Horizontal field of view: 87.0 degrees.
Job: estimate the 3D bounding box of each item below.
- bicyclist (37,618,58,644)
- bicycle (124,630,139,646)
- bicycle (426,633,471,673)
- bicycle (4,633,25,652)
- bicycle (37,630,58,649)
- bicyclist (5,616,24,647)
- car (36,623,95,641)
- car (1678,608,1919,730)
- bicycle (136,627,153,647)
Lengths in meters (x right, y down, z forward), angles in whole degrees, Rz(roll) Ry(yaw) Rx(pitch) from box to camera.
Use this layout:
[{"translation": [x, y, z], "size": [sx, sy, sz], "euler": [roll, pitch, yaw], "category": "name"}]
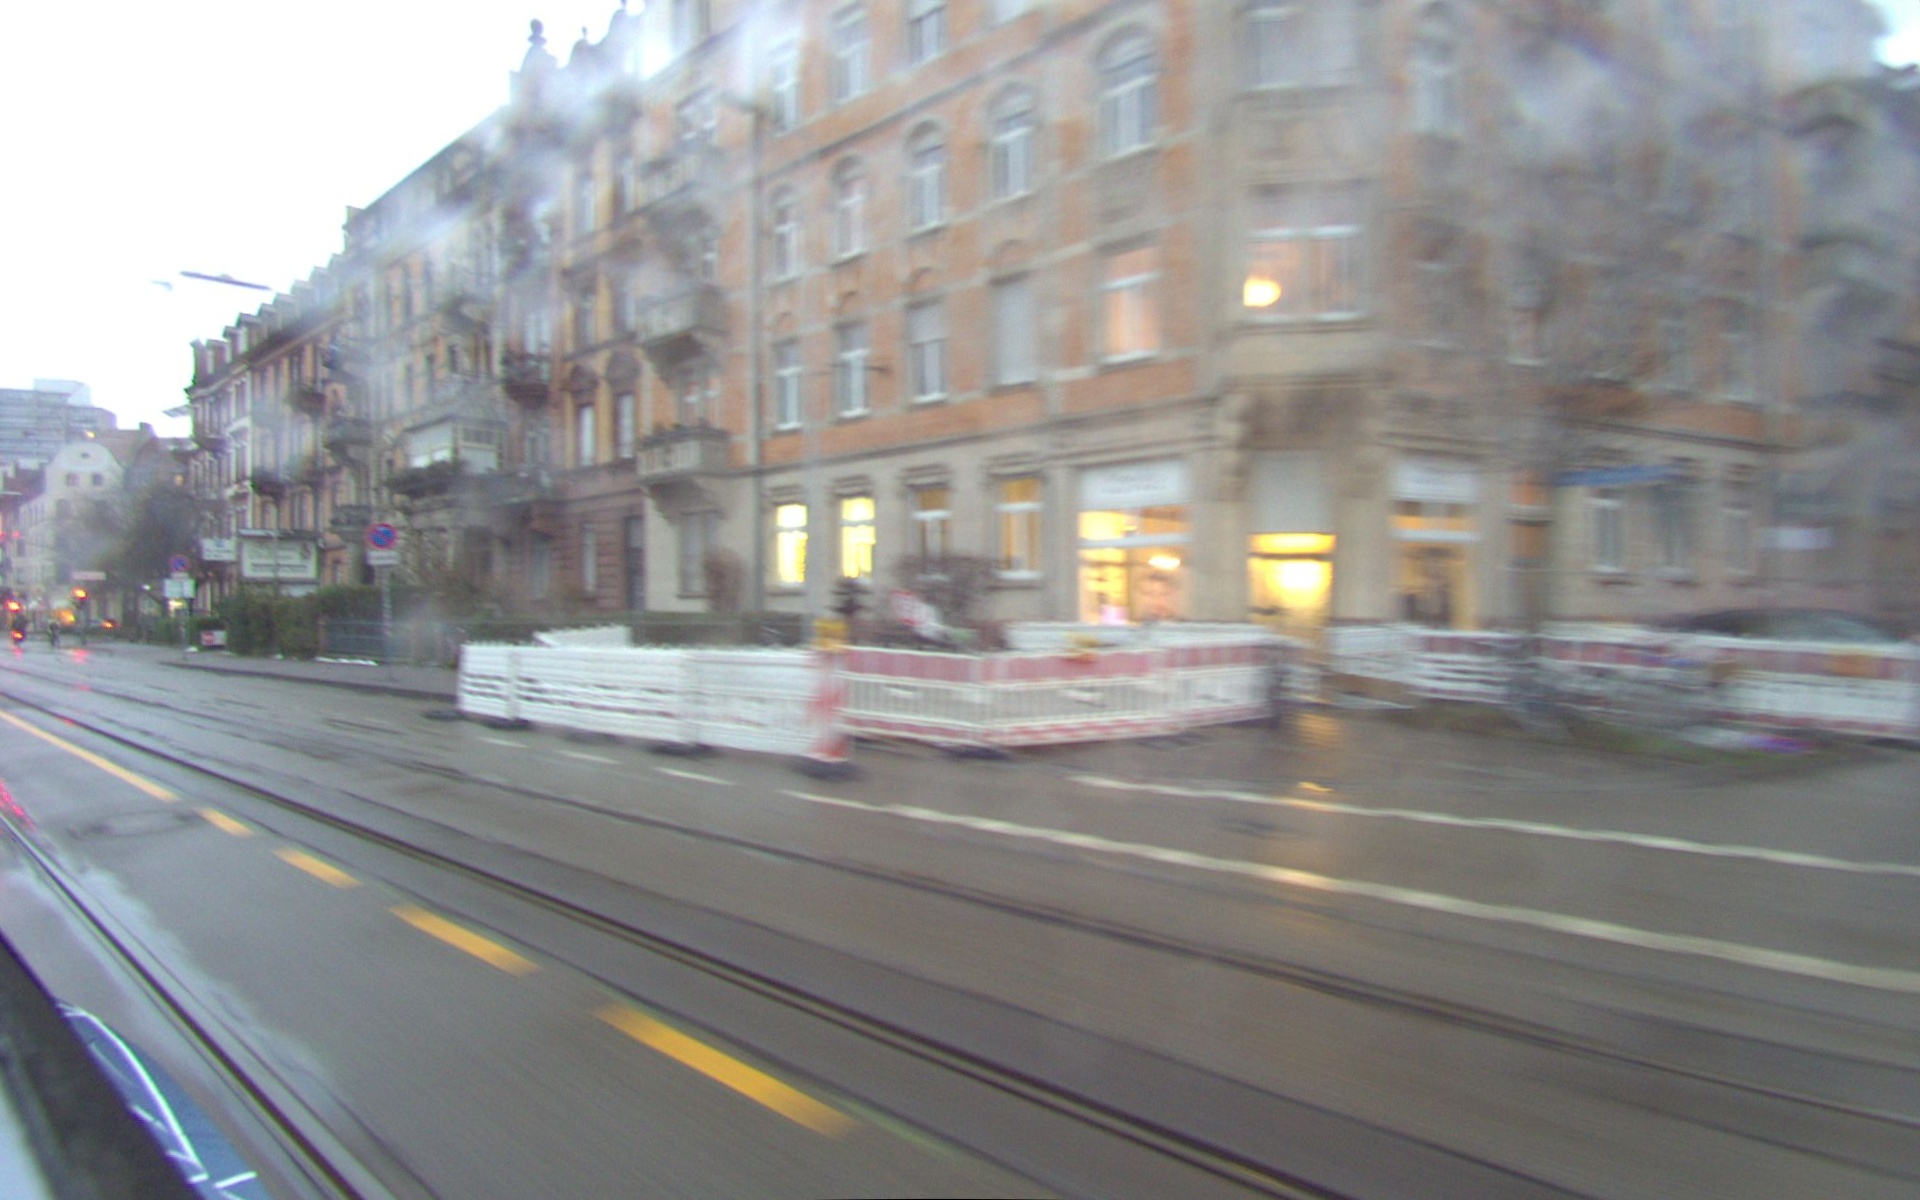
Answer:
[{"translation": [-49.218, 1.669, 54.585], "size": [0.944, 1.374, 0.697], "euler": [-1, 0, 42], "category": "bicyclist"}, {"translation": [-46.280, 2.095, 56.525], "size": [1.849, 0.869, 0.395], "euler": [-1, -1, 42], "category": "bicycle"}, {"translation": [-12.234, 1.259, 24.178], "size": [1.684, 0.922, 0.260], "euler": [-2, 4, 41], "category": "bicycle"}, {"translation": [-51.069, 2.282, 54.679], "size": [1.933, 0.979, 0.671], "euler": [-1, -1, 42], "category": "bicycle"}, {"translation": [-49.252, 2.114, 54.625], "size": [1.802, 1.014, 0.674], "euler": [-1, -1, 42], "category": "bicycle"}, {"translation": [-51.118, 1.686, 54.700], "size": [0.765, 1.628, 0.676], "euler": [-2, -2, 42], "category": "bicyclist"}, {"translation": [-86.177, 3.045, 97.560], "size": [4.276, 1.595, 1.940], "euler": [0, -1, -41], "category": "car"}, {"translation": [12.620, 0.898, 14.053], "size": [1.698, 1.542, 4.013], "euler": [0, -1, -22], "category": "car"}, {"translation": [-42.820, 1.937, 53.149], "size": [1.849, 1.014, 0.412], "euler": [-1, -1, 42], "category": "bicycle"}]
